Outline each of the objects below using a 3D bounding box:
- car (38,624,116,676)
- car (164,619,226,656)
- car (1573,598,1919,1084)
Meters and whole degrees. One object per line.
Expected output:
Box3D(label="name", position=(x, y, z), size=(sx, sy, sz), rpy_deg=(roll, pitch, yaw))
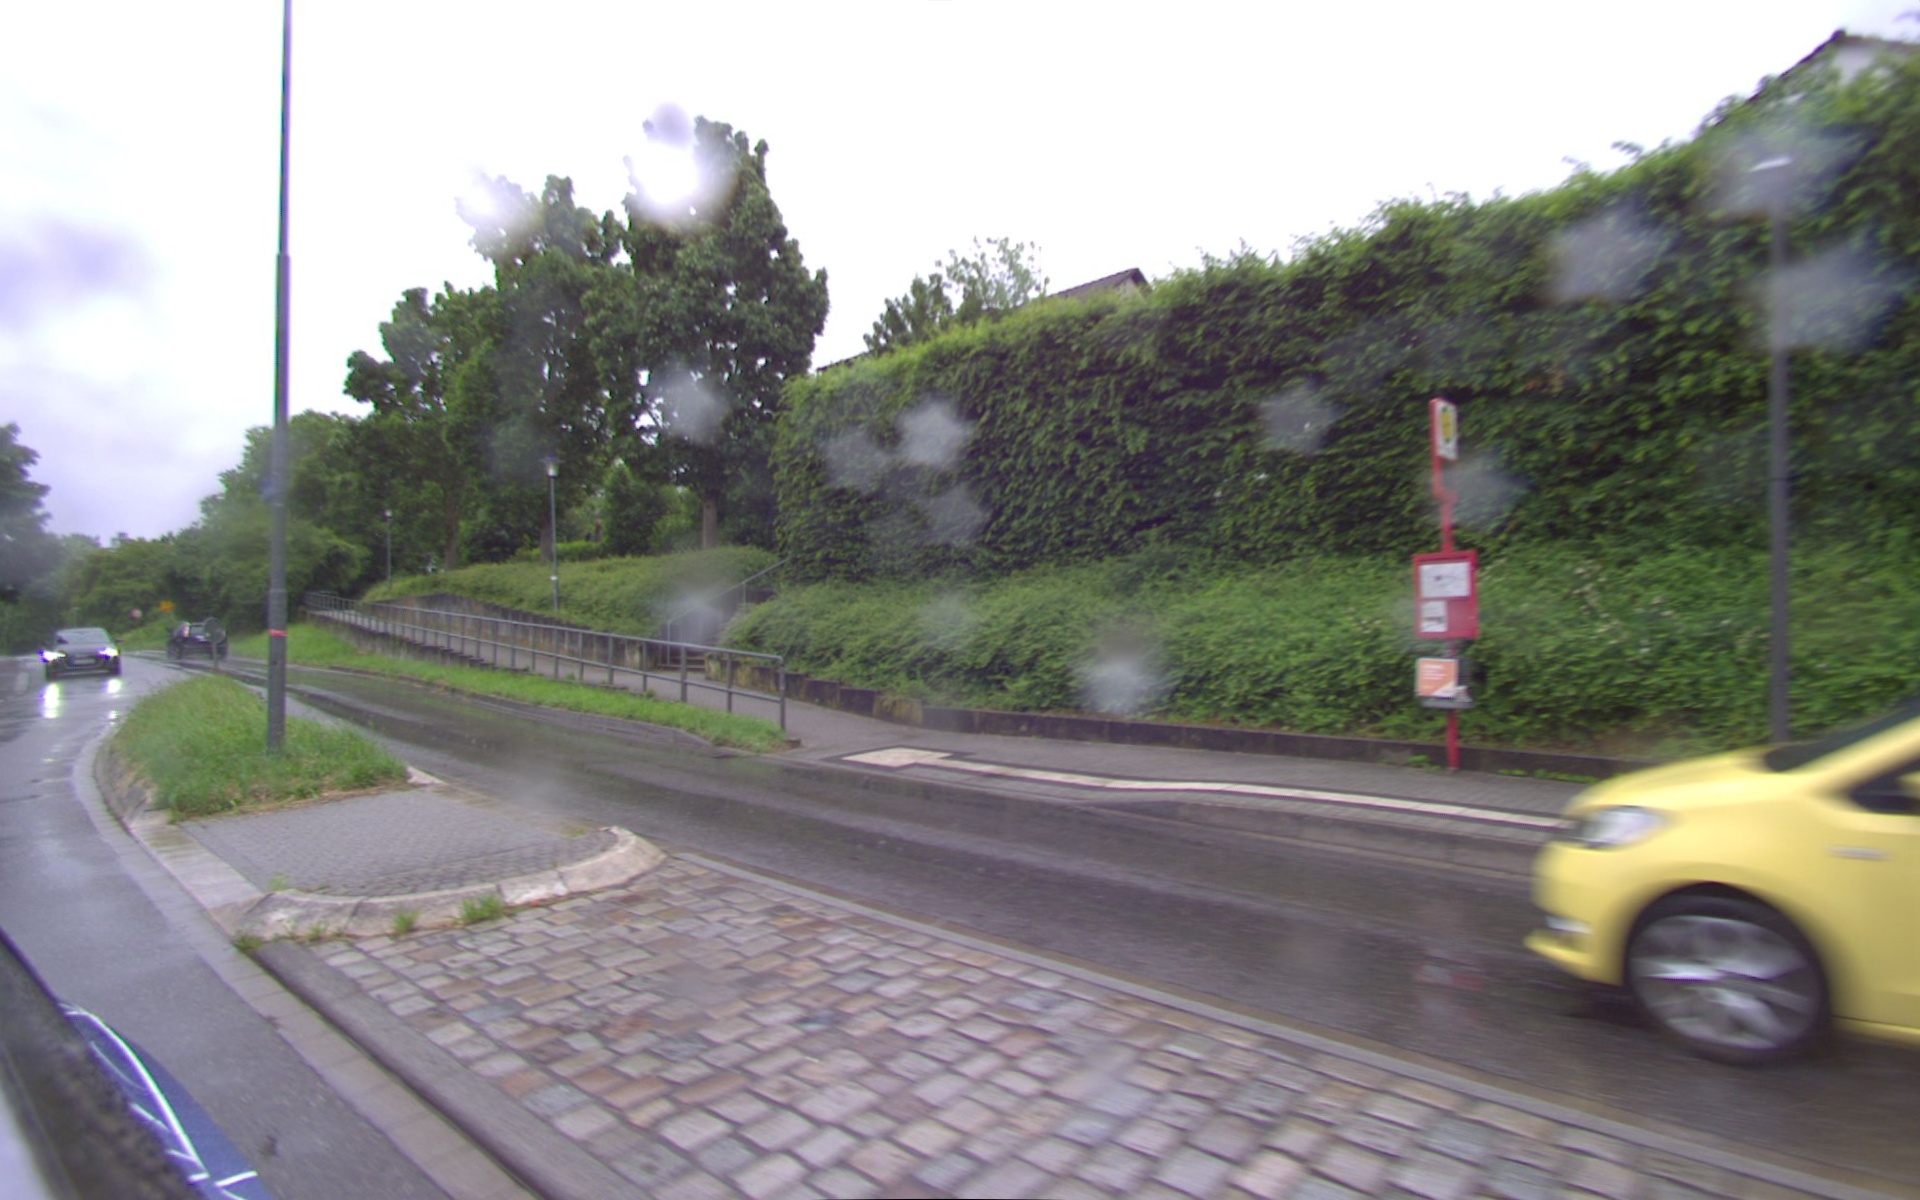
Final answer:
Box3D(label="car", position=(-27.438, 1.569, 31.462), size=(1.739, 1.497, 3.795), rpy_deg=(1, -4, -41))
Box3D(label="car", position=(-32.978, 1.598, 43.568), size=(1.739, 1.514, 4.146), rpy_deg=(2, -3, -42))
Box3D(label="car", position=(3.979, 0.714, 3.004), size=(3.472, 1.421, 1.556), rpy_deg=(-2, -4, 41))
